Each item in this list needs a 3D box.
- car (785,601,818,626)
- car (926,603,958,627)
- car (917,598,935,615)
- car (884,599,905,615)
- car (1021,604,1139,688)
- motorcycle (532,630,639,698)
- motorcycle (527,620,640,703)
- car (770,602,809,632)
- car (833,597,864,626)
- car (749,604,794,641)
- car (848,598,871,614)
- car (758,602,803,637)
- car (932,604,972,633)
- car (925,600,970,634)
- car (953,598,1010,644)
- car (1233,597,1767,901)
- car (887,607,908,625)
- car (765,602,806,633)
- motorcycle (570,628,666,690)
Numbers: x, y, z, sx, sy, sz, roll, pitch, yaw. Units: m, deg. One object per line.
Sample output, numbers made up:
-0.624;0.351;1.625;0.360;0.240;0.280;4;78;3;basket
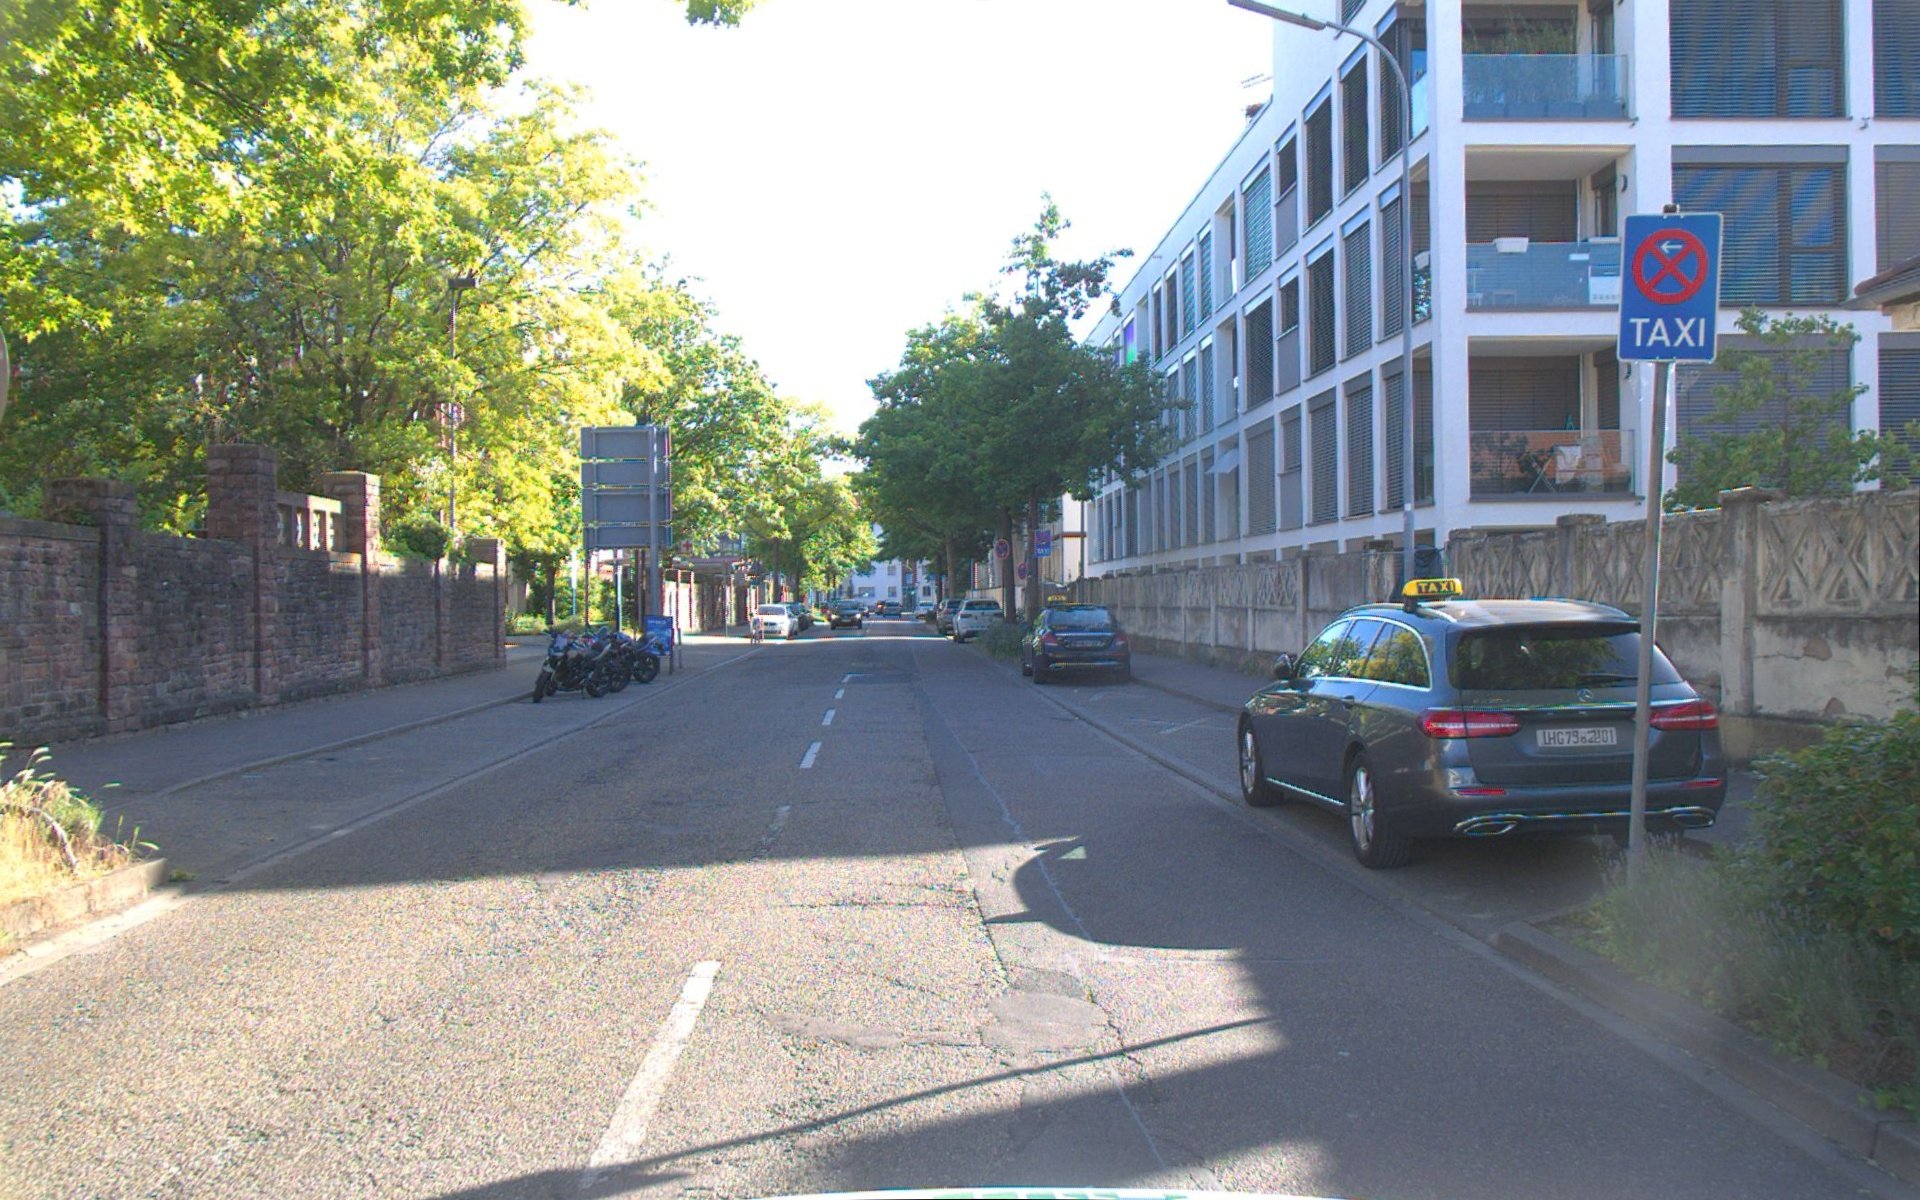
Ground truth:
-9.891;0.836;103.577;1.869;1.557;3.998;0;0;-3;car
-1.178;0.955;107.457;1.953;1.450;3.835;-1;0;-2;car
-2.919;0.557;141.668;1.554;1.424;3.835;-1;0;-2;car
-6.006;0.610;152.385;1.851;1.424;3.835;0;0;-2;car
2.252;0.837;32.053;1.732;1.465;3.997;-1;0;-4;car
-6.618;1.111;29.344;0.565;1.093;2.118;-1;0;30;motorcycle
-6.353;1.017;28.049;0.565;1.298;2.118;-1;0;30;motorcycle
-9.296;0.896;90.533;1.869;1.557;3.998;-1;0;-3;car
-6.257;0.616;92.930;1.620;1.557;3.998;-1;0;-3;car
-8.219;0.948;72.357;1.732;1.513;3.997;-1;0;-4;car
-9.239;0.558;152.863;1.953;1.478;3.999;-1;0;-1;car
-8.477;0.913;78.391;1.869;1.557;3.998;-1;0;-3;car
-0.439;0.945;85.442;1.953;1.450;3.835;-1;0;-2;car
-0.612;0.759;76.532;1.953;1.491;3.835;-1;0;-2;car
0.756;0.749;60.820;1.911;1.606;3.835;-1;0;-2;car
3.102;0.738;10.660;1.669;1.494;4.786;0;0;-3;car
-5.753;1.469;151.729;1.733;1.575;4.061;-1;0;-6;car
-9.084;0.902;86.398;1.869;1.557;3.998;-1;0;-3;car
-6.631;1.131;32.187;0.565;1.093;2.118;-1;0;30;motorcycle
